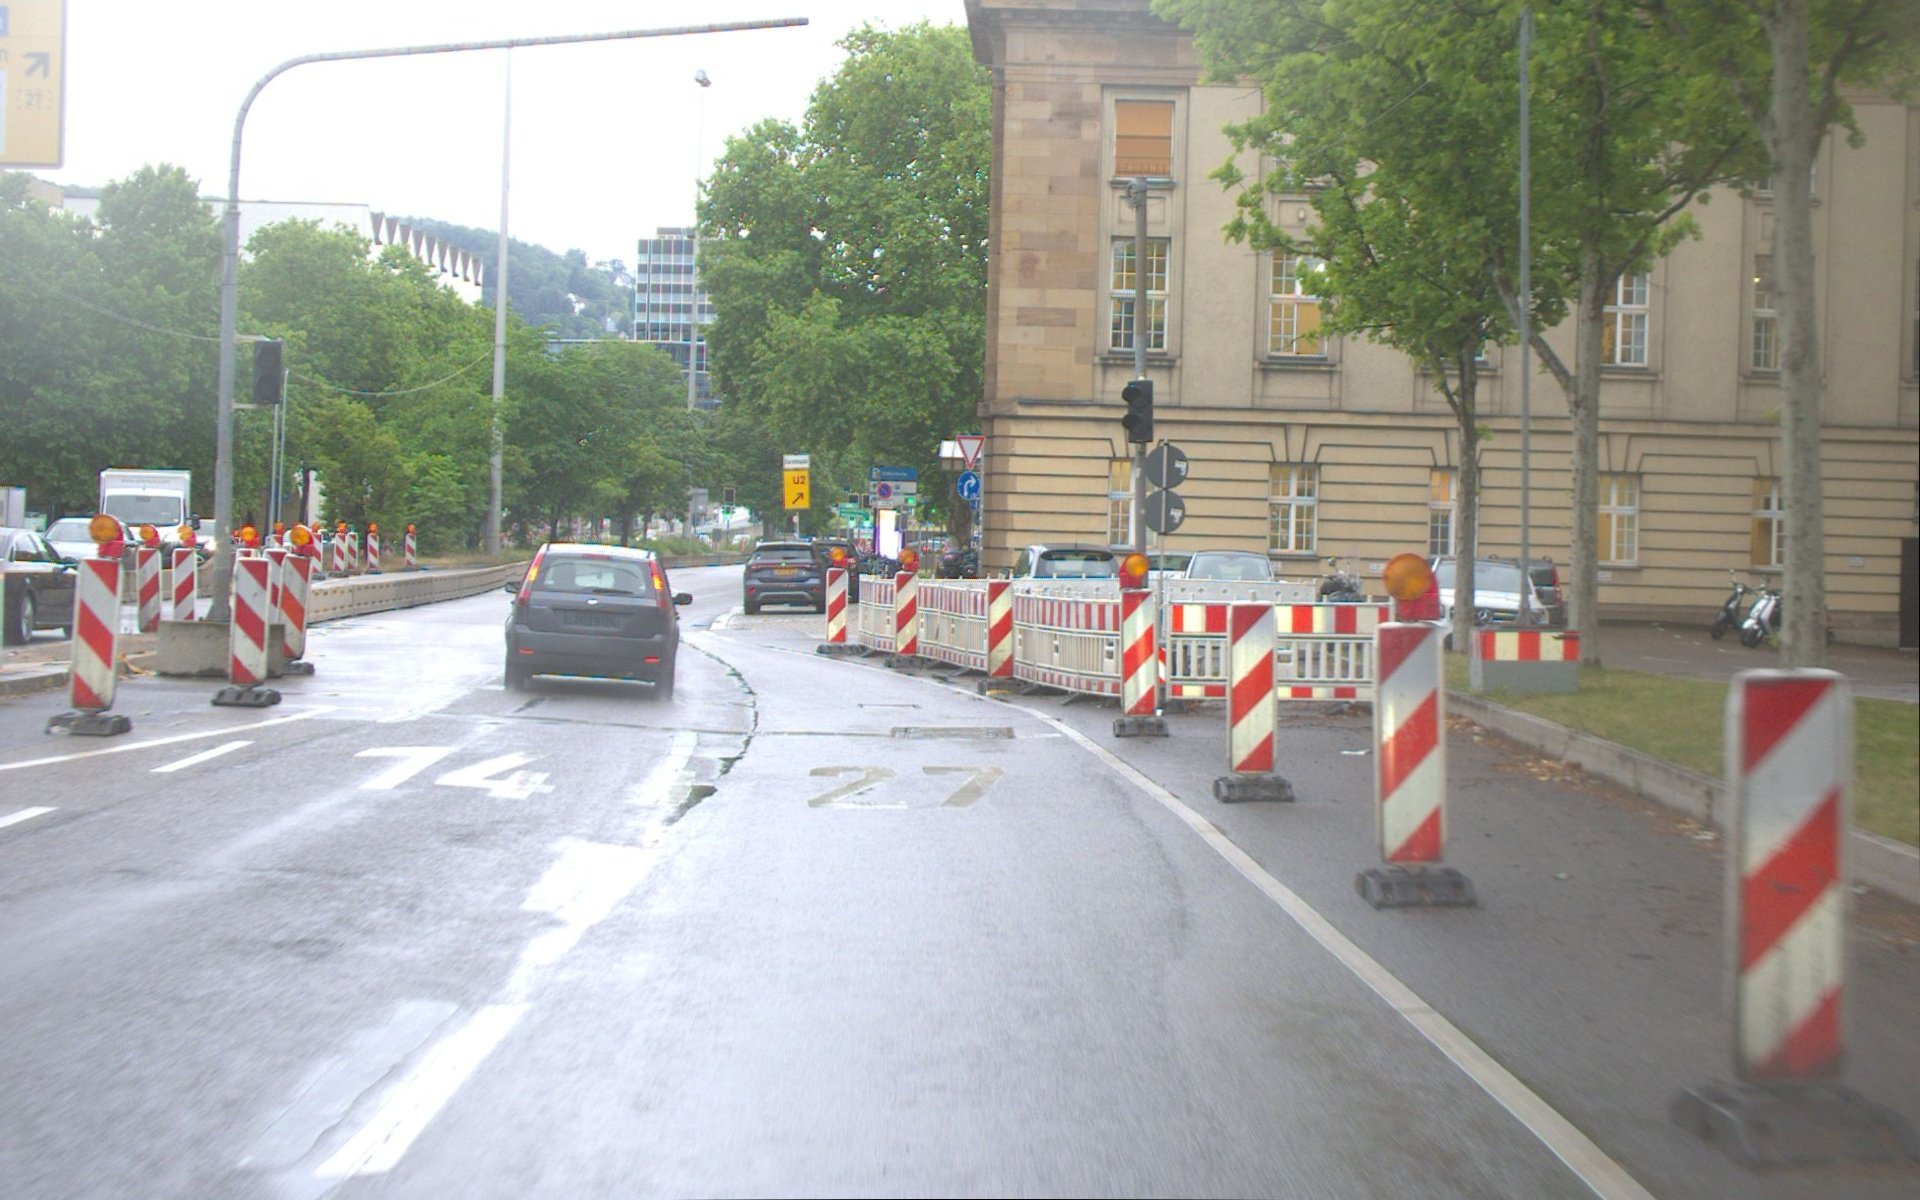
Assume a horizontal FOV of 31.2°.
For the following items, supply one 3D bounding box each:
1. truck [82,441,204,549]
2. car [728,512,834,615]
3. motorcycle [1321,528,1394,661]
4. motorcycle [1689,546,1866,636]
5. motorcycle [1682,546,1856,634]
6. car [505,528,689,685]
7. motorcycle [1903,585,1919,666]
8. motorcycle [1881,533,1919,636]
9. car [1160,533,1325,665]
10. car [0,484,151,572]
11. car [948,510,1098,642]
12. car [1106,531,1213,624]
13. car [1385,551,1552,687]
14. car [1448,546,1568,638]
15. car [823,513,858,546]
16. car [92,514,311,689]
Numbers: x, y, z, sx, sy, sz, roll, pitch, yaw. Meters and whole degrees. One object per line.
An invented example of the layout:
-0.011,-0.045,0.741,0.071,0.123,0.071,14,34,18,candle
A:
-19.850,-2.509,83.742,2.412,2.331,5.446,4,-1,-10,truck
-3.777,-0.814,73.149,1.993,2.006,4.001,3,2,0,car
5.670,-0.105,49.194,0.831,1.823,3.143,2,1,4,motorcycle
15.896,-0.165,66.910,3.162,1.538,0.889,4,-1,3,motorcycle
15.965,-0.191,67.937,3.162,1.538,0.889,4,-1,5,motorcycle
-3.597,0.028,34.313,1.669,1.422,3.758,2,1,-5,car
19.923,0.589,65.832,3.350,1.526,1.152,4,-1,2,motorcycle
20.192,-0.258,68.493,3.350,2.007,1.152,2,-1,2,motorcycle
4.105,-0.051,50.565,1.993,1.702,4.001,3,2,0,car
-17.249,-1.382,67.124,1.993,1.474,4.000,4,0,-2,car
0.865,-0.379,49.683,1.993,1.702,4.001,3,2,0,car
4.072,-0.478,69.692,1.994,1.702,4.000,3,2,4,car
7.197,0.225,49.036,1.994,1.702,4.000,3,2,4,car
11.084,-0.150,69.713,1.994,1.703,3.999,3,0,4,car
-7.900,-4.646,226.780,1.993,2.007,4.001,4,-1,-5,car
-6.396,-0.003,29.220,1.385,1.381,3.068,1,1,-5,car
